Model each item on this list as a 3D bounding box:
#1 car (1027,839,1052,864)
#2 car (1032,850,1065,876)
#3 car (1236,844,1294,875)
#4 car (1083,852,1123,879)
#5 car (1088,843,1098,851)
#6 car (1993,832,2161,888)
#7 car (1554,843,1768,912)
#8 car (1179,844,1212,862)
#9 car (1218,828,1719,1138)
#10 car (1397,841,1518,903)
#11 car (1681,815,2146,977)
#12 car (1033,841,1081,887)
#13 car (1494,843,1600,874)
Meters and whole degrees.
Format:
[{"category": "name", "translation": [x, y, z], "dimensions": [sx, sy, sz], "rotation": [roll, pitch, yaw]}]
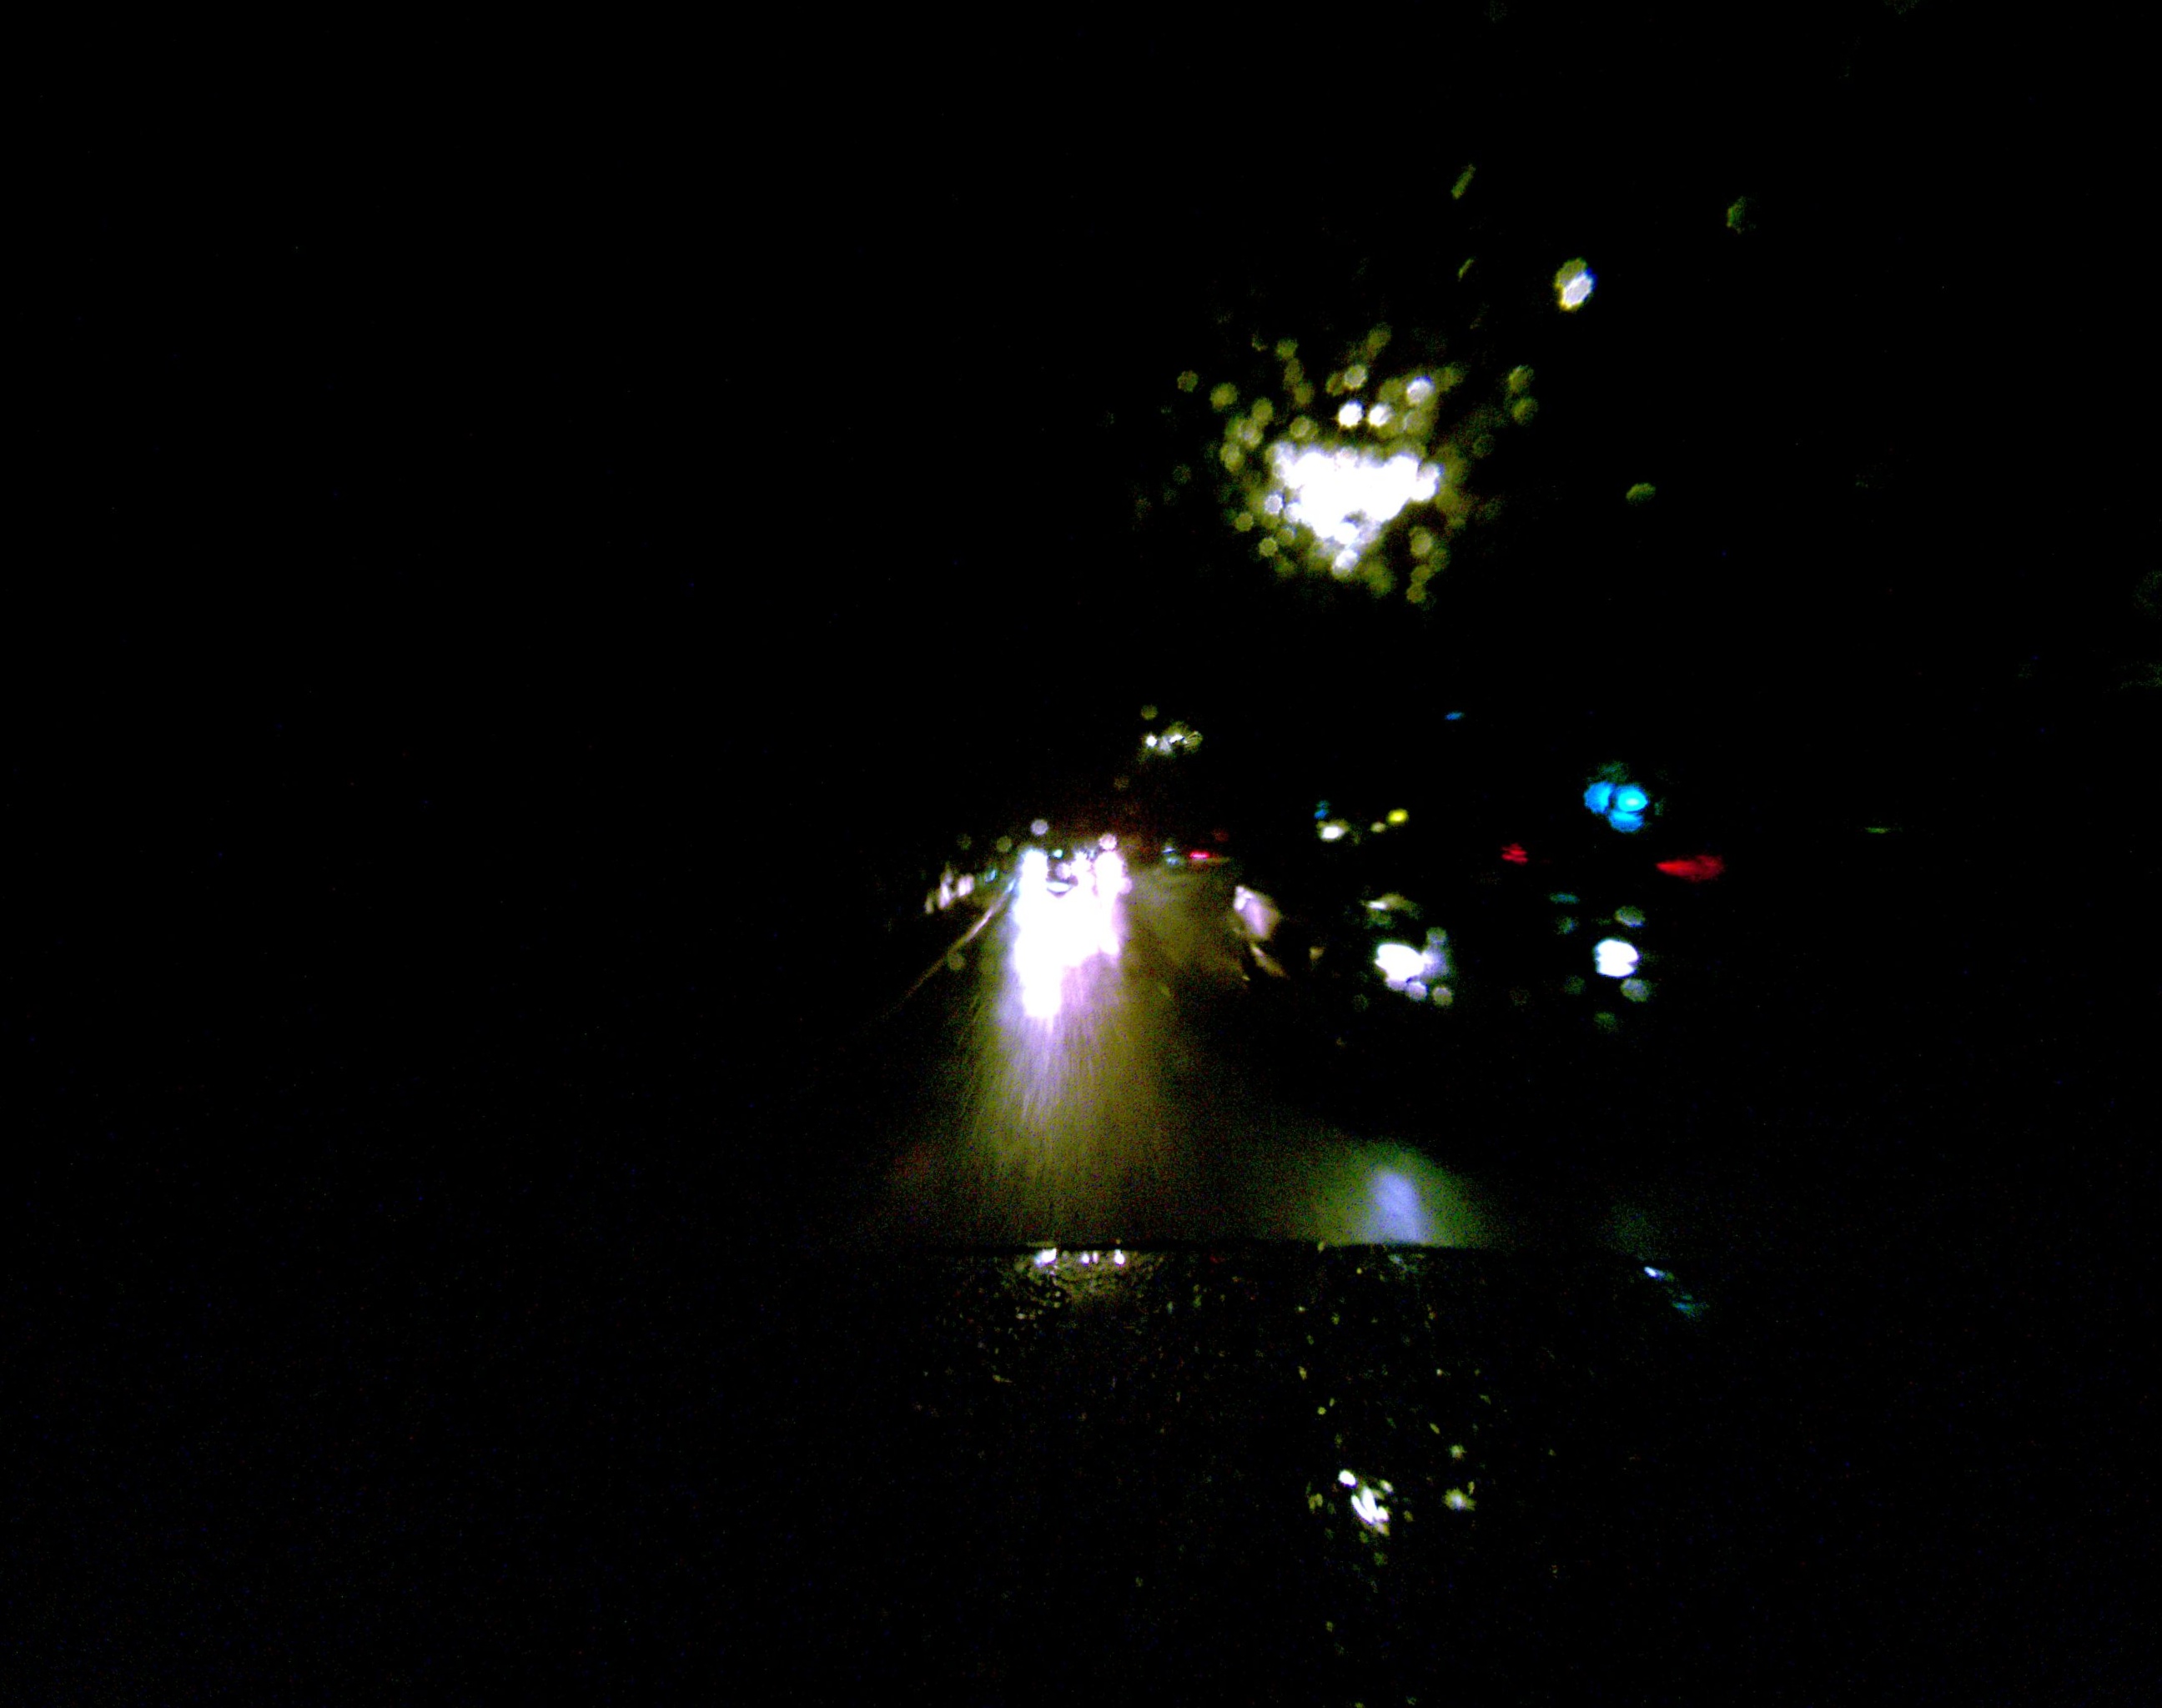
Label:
[{"category": "car", "translation": [-3.486, -0.221, 63.864], "dimensions": [1.999, 2.002, 3.998], "rotation": [-1, 1, -4]}, {"category": "car", "translation": [-2.126, 0.519, 48.743], "dimensions": [1.999, 1.456, 3.997], "rotation": [-1, 2, -4]}, {"category": "car", "translation": [9.766, 0.248, 40.783], "dimensions": [1.703, 1.562, 4.709], "rotation": [-1, 1, -3]}, {"category": "car", "translation": [1.280, 0.649, 46.650], "dimensions": [1.999, 1.456, 3.997], "rotation": [-1, 2, -5]}, {"category": "car", "translation": [2.383, -1.423, 151.253], "dimensions": [1.658, 1.490, 4.373], "rotation": [2, 1, -2]}, {"category": "car", "translation": [37.559, 0.182, 27.835], "dimensions": [4.910, 1.929, 2.004], "rotation": [0, 3, 36]}, {"category": "car", "translation": [13.398, 0.456, 17.960], "dimensions": [1.722, 1.346, 4.408], "rotation": [-1, 2, 0]}, {"category": "car", "translation": [10.395, -0.120, 69.375], "dimensions": [1.797, 1.562, 4.910], "rotation": [-1, 1, -7]}, {"category": "car", "translation": [2.583, 0.687, 6.661], "dimensions": [1.914, 1.694, 4.938], "rotation": [-1, 1, 1]}, {"category": "car", "translation": [10.411, 0.431, 21.315], "dimensions": [1.589, 1.517, 3.650], "rotation": [-1, 2, 0]}, {"category": "car", "translation": [10.419, 0.395, 10.105], "dimensions": [1.721, 1.694, 4.142], "rotation": [-1, 2, 3]}, {"category": "car", "translation": [-0.961, 0.373, 32.609], "dimensions": [1.877, 1.825, 4.204], "rotation": [-1, 1, 0]}, {"category": "car", "translation": [23.606, 0.176, 38.602], "dimensions": [2.185, 1.441, 4.124], "rotation": [-3, 3, -40]}]
